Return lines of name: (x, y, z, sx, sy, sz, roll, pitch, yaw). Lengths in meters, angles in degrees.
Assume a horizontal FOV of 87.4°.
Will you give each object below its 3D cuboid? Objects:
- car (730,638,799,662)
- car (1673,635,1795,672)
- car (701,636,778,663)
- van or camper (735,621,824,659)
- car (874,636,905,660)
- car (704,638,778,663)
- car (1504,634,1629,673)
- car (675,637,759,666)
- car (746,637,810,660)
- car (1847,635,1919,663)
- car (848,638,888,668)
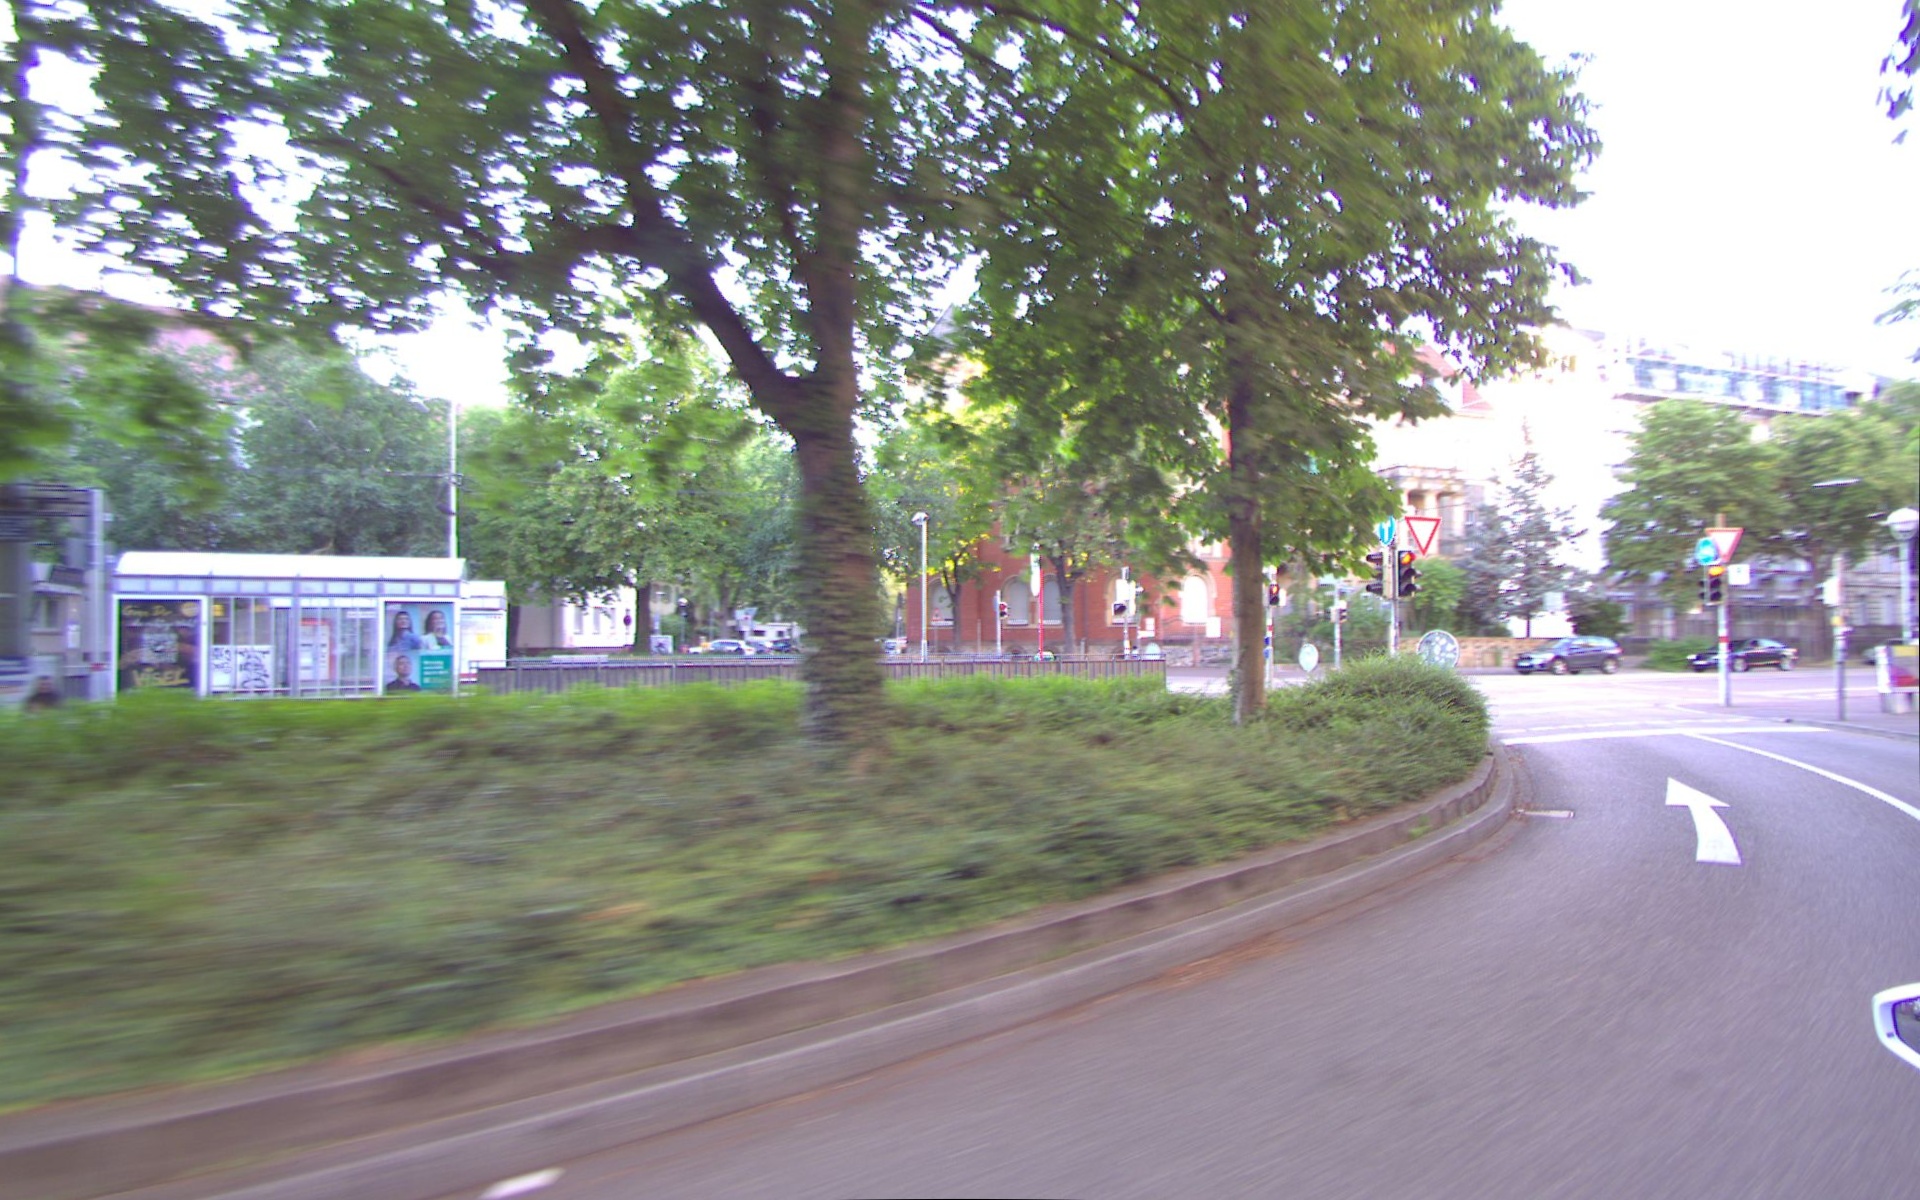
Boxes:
car: (-14.987, 3.812, 77.186, 4.870, 1.726, 2.000, 1, -2, -3)
car: (33.825, 2.300, 43.928, 4.557, 1.529, 1.944, 0, -2, -17)
car: (-15.181, 3.382, 69.254, 4.870, 1.726, 2.000, 1, -2, -3)
van or camper: (-15.609, 3.513, 87.414, 7.246, 3.123, 2.673, 1, -2, -3)
car: (-5.350, 3.674, 76.771, 1.960, 1.726, 4.721, 1, -2, 0)
car: (-15.725, 3.634, 72.275, 4.870, 1.726, 2.000, 1, -2, -3)
car: (24.674, 2.149, 40.915, 4.348, 1.529, 1.944, 0, -2, -17)
car: (-15.590, 3.325, 64.654, 4.870, 1.726, 2.000, 1, -2, -3)
car: (-14.856, 3.978, 82.142, 4.870, 1.726, 2.000, 1, -2, -3)
car: (49.836, 2.607, 53.497, 4.563, 1.445, 2.001, 1, -2, -21)
car: (-5.484, 3.146, 60.431, 1.960, 1.726, 4.721, 1, -2, 0)
